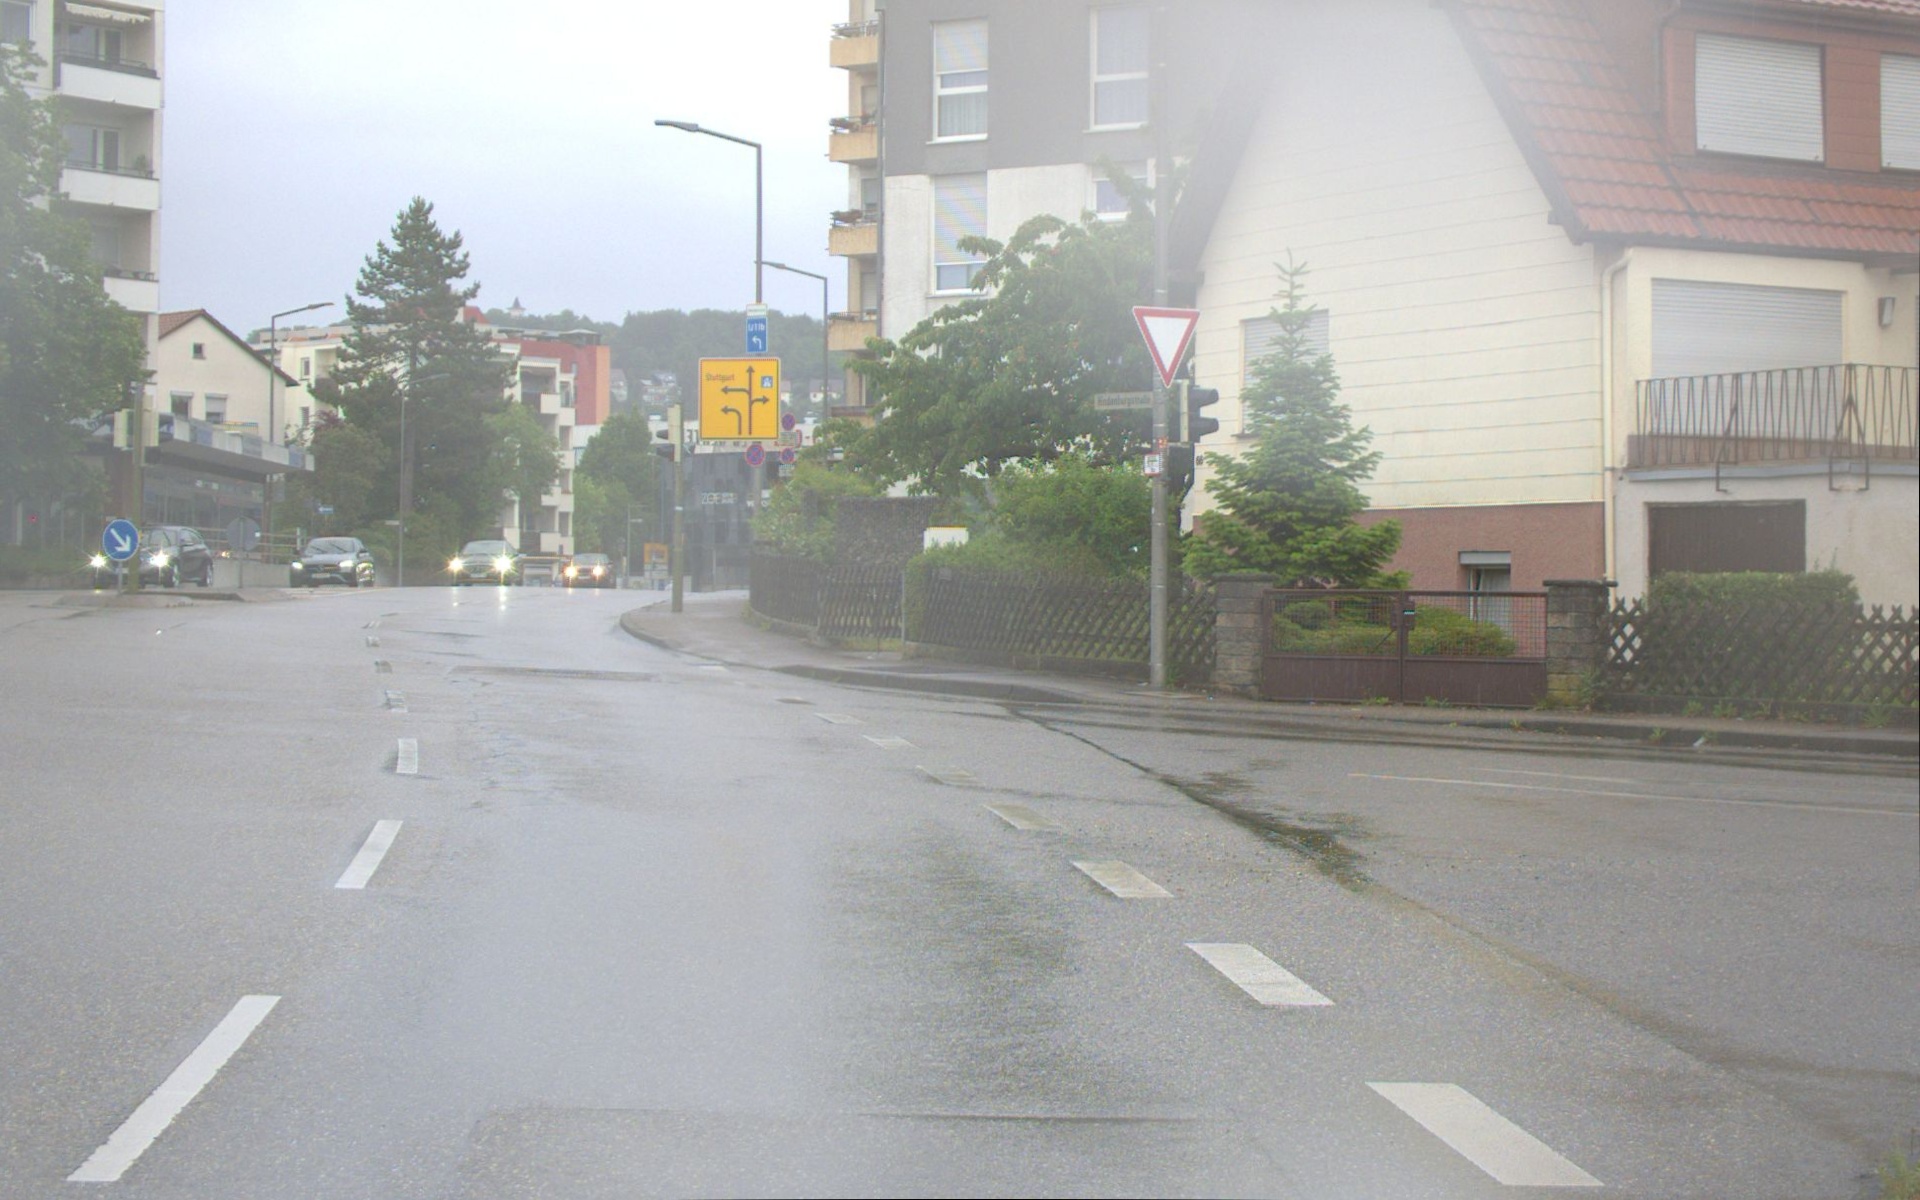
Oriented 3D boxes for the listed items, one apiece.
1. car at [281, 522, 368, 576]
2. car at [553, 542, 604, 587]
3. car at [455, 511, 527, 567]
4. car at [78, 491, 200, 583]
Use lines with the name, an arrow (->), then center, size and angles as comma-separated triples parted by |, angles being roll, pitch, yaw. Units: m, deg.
car -> -17.678, -1.420, 95.804 | 1.993, 1.458, 4.001 | 1, 1, -5
car -> -15.742, -1.464, 142.004 | 1.993, 1.805, 4.001 | 1, 1, -5
car -> -14.442, -1.863, 106.106 | 1.993, 1.673, 4.001 | 1, 1, -5
car -> -17.754, -1.349, 74.479 | 1.993, 1.897, 4.001 | 1, 1, -5
